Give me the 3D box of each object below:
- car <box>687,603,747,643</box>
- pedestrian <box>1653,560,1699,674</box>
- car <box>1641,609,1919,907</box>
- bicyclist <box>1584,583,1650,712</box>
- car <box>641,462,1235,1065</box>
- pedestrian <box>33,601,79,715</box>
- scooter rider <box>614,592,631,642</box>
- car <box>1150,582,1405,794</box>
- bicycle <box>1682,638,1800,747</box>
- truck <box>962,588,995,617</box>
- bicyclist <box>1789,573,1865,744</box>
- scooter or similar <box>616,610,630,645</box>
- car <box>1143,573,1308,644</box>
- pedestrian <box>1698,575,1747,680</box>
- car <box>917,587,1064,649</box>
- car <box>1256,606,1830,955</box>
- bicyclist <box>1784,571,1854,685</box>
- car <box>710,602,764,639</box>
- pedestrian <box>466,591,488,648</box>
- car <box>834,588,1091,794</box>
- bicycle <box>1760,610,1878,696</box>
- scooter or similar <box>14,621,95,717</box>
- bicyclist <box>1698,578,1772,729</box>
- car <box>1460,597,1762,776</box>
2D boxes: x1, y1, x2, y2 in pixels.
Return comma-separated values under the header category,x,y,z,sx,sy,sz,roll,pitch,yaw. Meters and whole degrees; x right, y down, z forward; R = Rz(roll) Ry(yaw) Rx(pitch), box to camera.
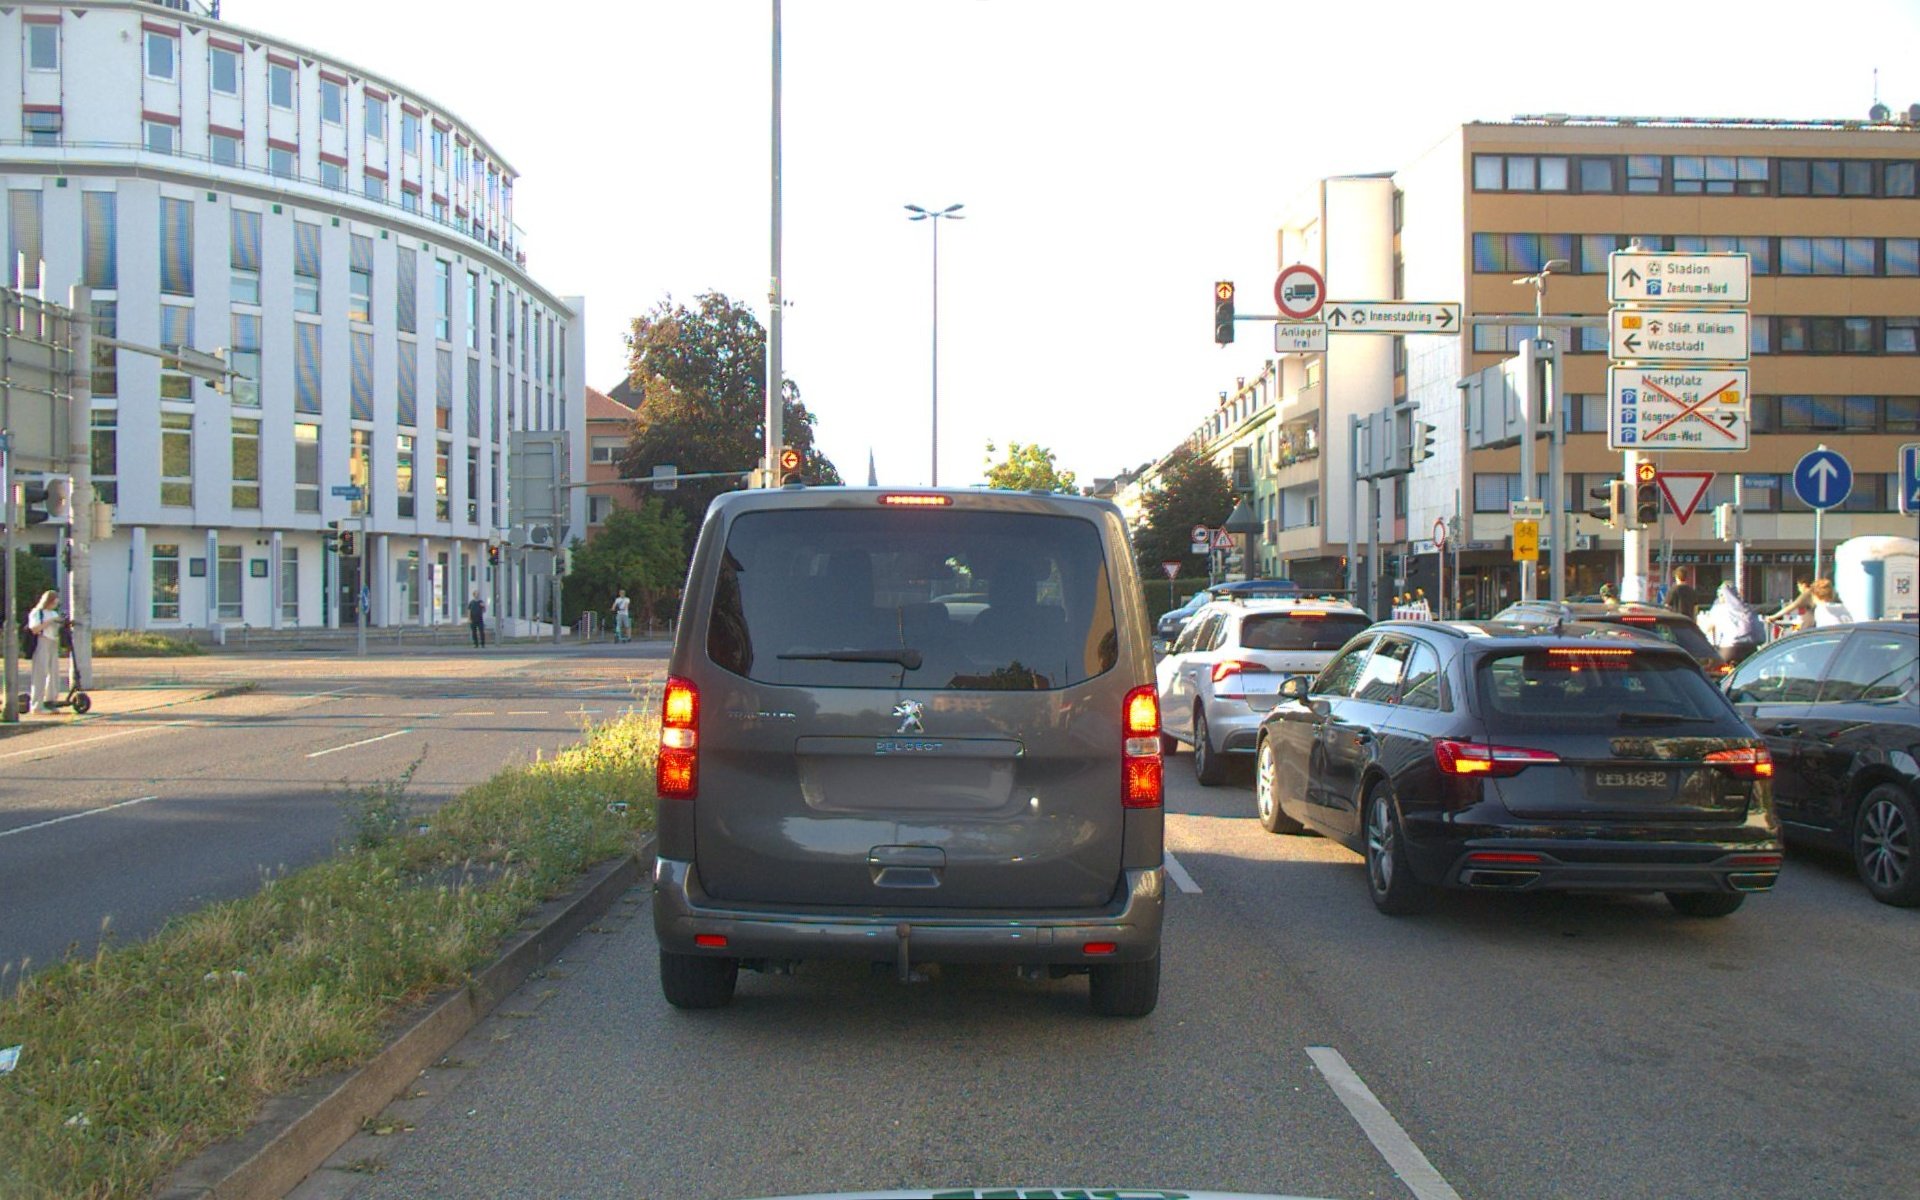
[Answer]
category,x,y,z,sx,sy,sz,roll,pitch,yaw
car,-9.113,0.838,62.381,1.819,1.445,3.998,0,0,-2
pedestrian,11.829,0.276,27.331,0.558,1.866,0.487,0,0,2
car,5.616,0.820,9.739,1.600,1.474,3.744,1,0,-1
bicyclist,8.068,0.571,20.323,0.503,1.552,0.725,0,0,-1
car,-0.100,0.520,7.560,1.868,1.896,4.525,1,0,-1
pedestrian,-12.224,0.775,22.374,0.466,1.532,0.334,0,0,-13
scooter rider,-11.849,0.596,58.122,0.471,1.727,0.636,0,0,-1
car,2.711,0.687,14.875,1.498,1.641,3.744,1,0,-1
bicycle,8.136,0.940,17.306,0.329,1.025,1.855,0,0,-1
truck,1.407,0.201,123.650,2.083,2.123,4.634,0,0,5
bicyclist,7.978,0.527,15.228,0.432,1.552,0.482,0,0,-1
scooter or similar,-11.856,0.956,58.178,0.279,1.209,1.169,0,0,-1
car,7.302,0.204,45.396,4.168,1.849,1.981,-1,0,-29
pedestrian,12.528,0.450,27.167,0.589,1.700,0.454,0,0,1
car,0.794,0.438,41.221,1.666,1.412,3.665,-1,0,42
car,2.892,0.786,9.231,1.647,1.446,4.213,1,0,-1
bicyclist,12.538,0.390,24.134,0.798,1.616,0.617,1,1,37
car,-9.136,0.826,68.035,1.819,1.445,3.998,0,0,-2
pedestrian,-14.804,0.595,50.679,0.615,1.752,0.669,0,0,-15
car,-0.012,0.685,14.616,1.953,1.557,3.999,0,0,-1
bicycle,12.527,0.761,24.134,1.470,1.181,0.372,2,1,37
scooter or similar,-12.155,0.917,22.210,0.877,1.255,0.370,0,0,-12
bicyclist,8.140,0.549,17.389,0.432,1.552,0.725,0,0,-1
car,5.928,0.717,15.440,1.474,1.474,3.304,0,0,-1
